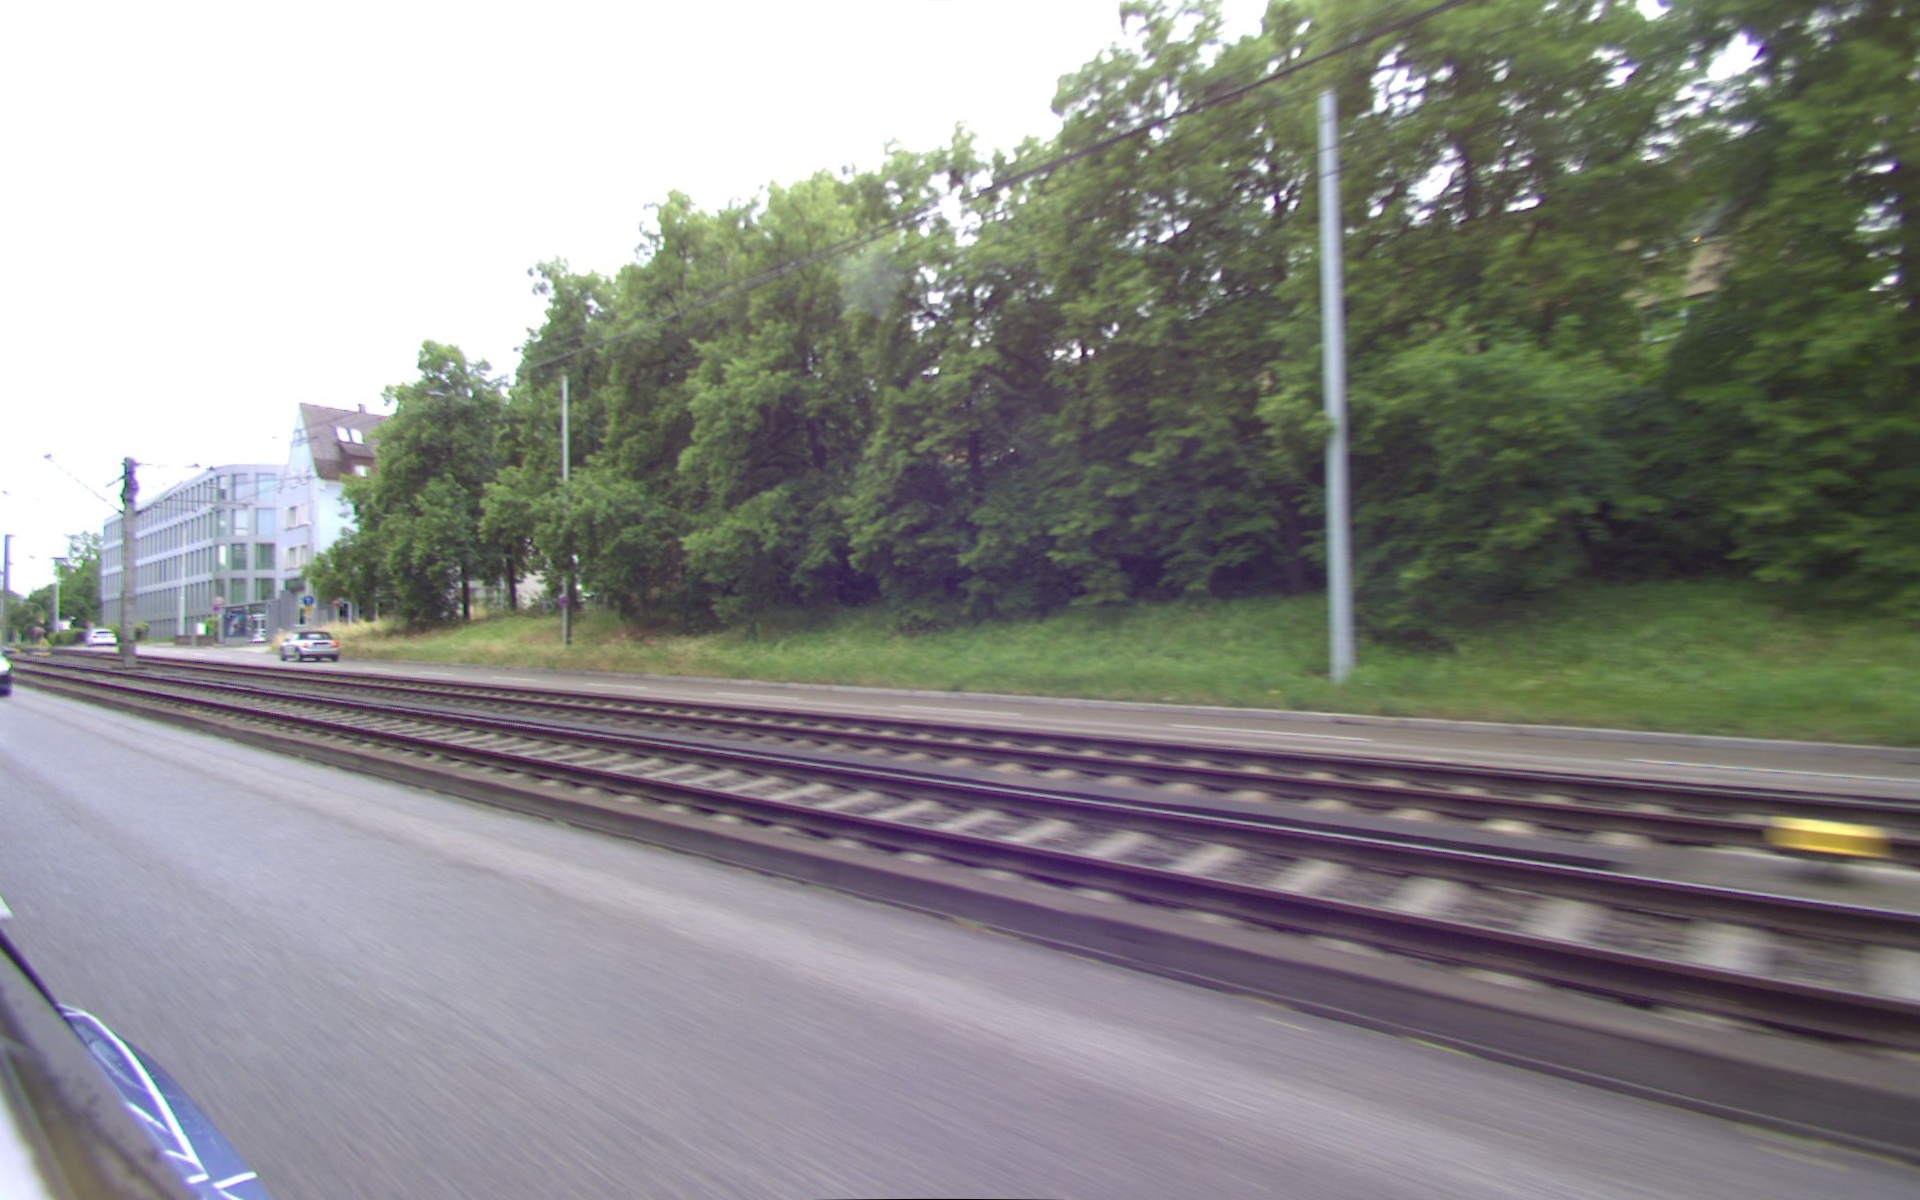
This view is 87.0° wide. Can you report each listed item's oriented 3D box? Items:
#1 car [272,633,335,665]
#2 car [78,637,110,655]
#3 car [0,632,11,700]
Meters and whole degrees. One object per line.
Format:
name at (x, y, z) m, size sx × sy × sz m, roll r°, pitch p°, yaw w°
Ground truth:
car at (-31.339, 2.334, 48.264) m, size 3.907 × 1.447 × 1.460 m, roll -2°, pitch -4°, yaw 42°
car at (-78.486, 4.134, 91.735) m, size 4.379 × 1.541 × 1.635 m, roll -2°, pitch -2°, yaw 42°
car at (-22.430, 1.441, 22.361) m, size 3.831 × 1.459 × 1.748 m, roll -2°, pitch -2°, yaw 41°
